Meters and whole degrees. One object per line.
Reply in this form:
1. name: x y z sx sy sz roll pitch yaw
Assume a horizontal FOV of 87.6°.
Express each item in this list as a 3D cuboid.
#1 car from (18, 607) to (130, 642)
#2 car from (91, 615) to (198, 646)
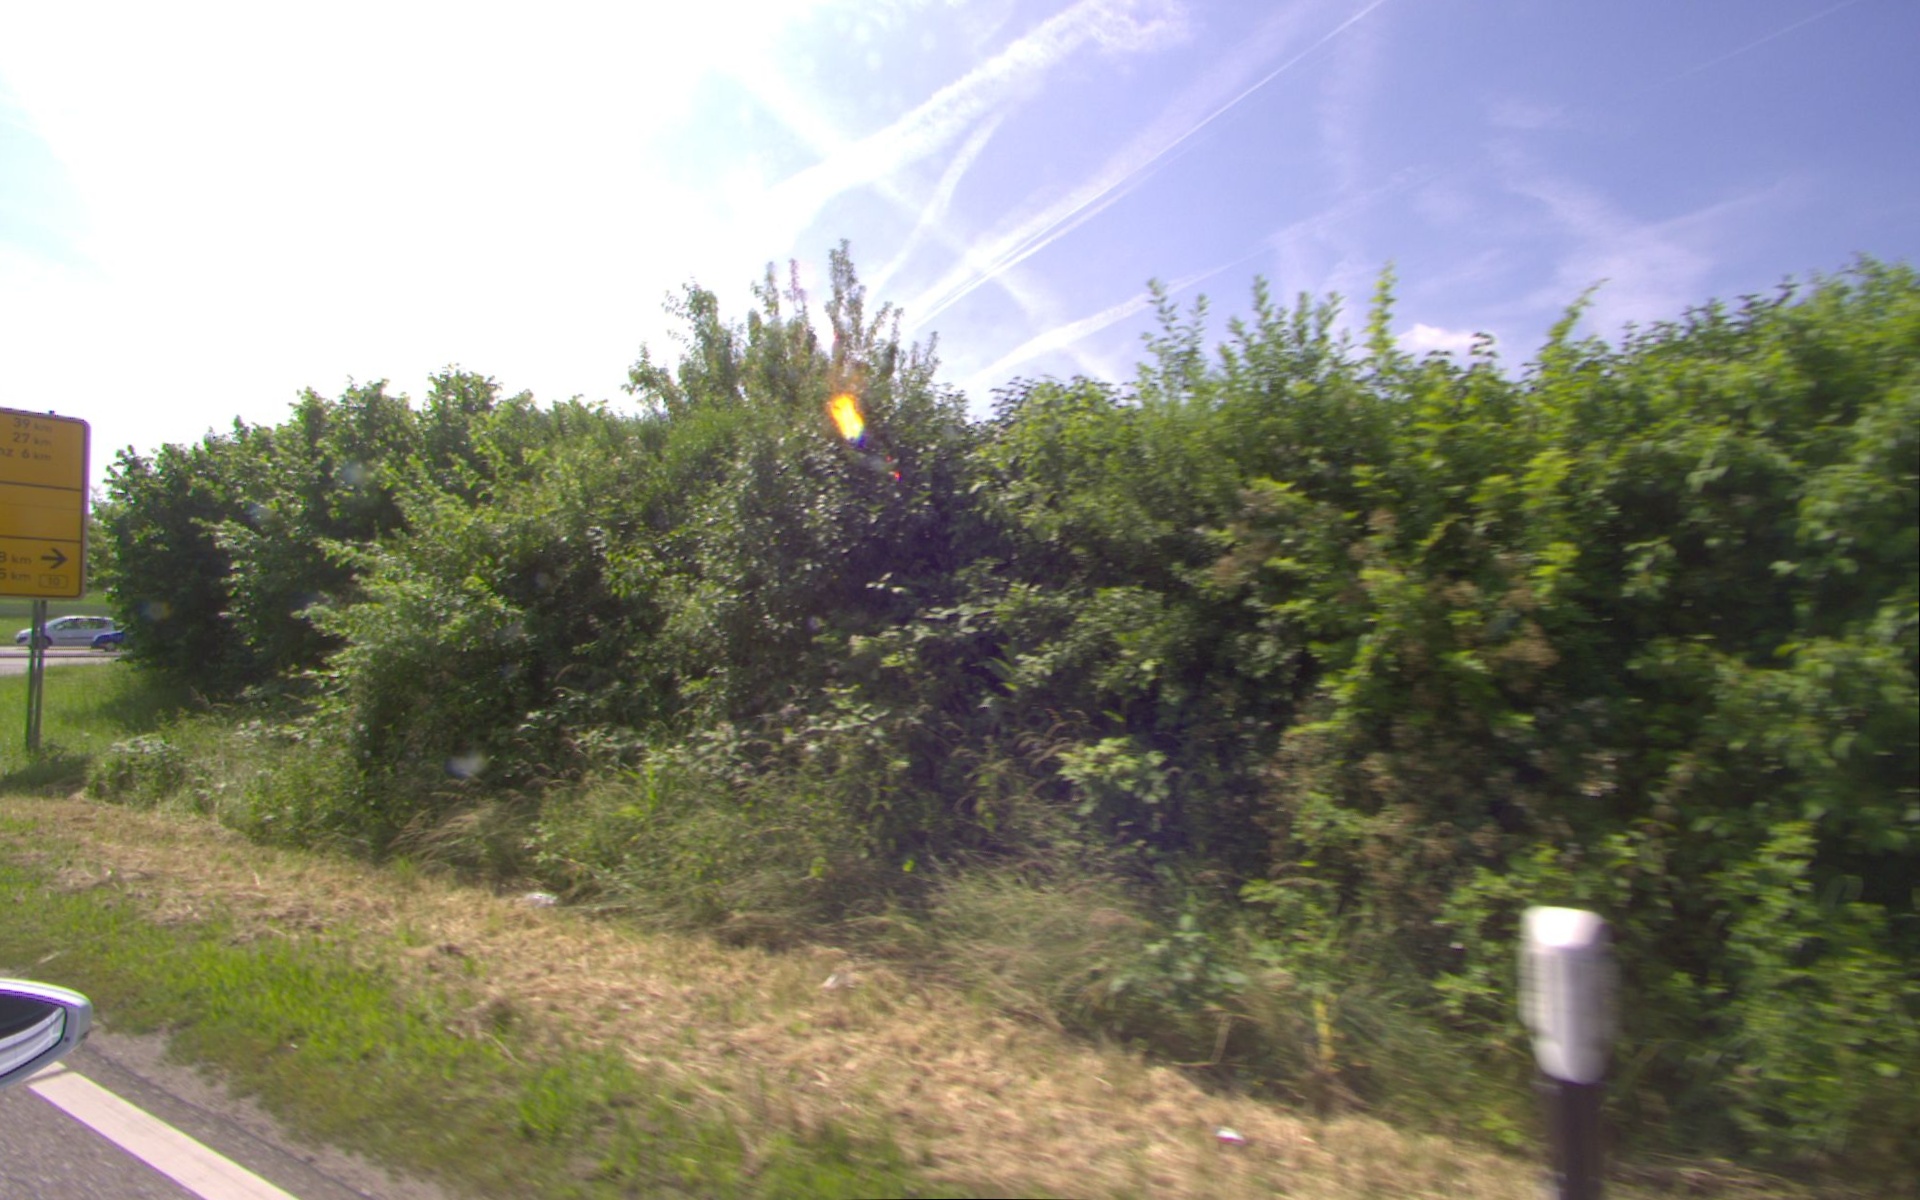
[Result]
1. car: -43.414 1.212 49.117 1.737 1.654 3.819 -1 -2 33
2. car: -39.346 1.486 48.381 1.659 1.374 3.828 -1 -3 43
